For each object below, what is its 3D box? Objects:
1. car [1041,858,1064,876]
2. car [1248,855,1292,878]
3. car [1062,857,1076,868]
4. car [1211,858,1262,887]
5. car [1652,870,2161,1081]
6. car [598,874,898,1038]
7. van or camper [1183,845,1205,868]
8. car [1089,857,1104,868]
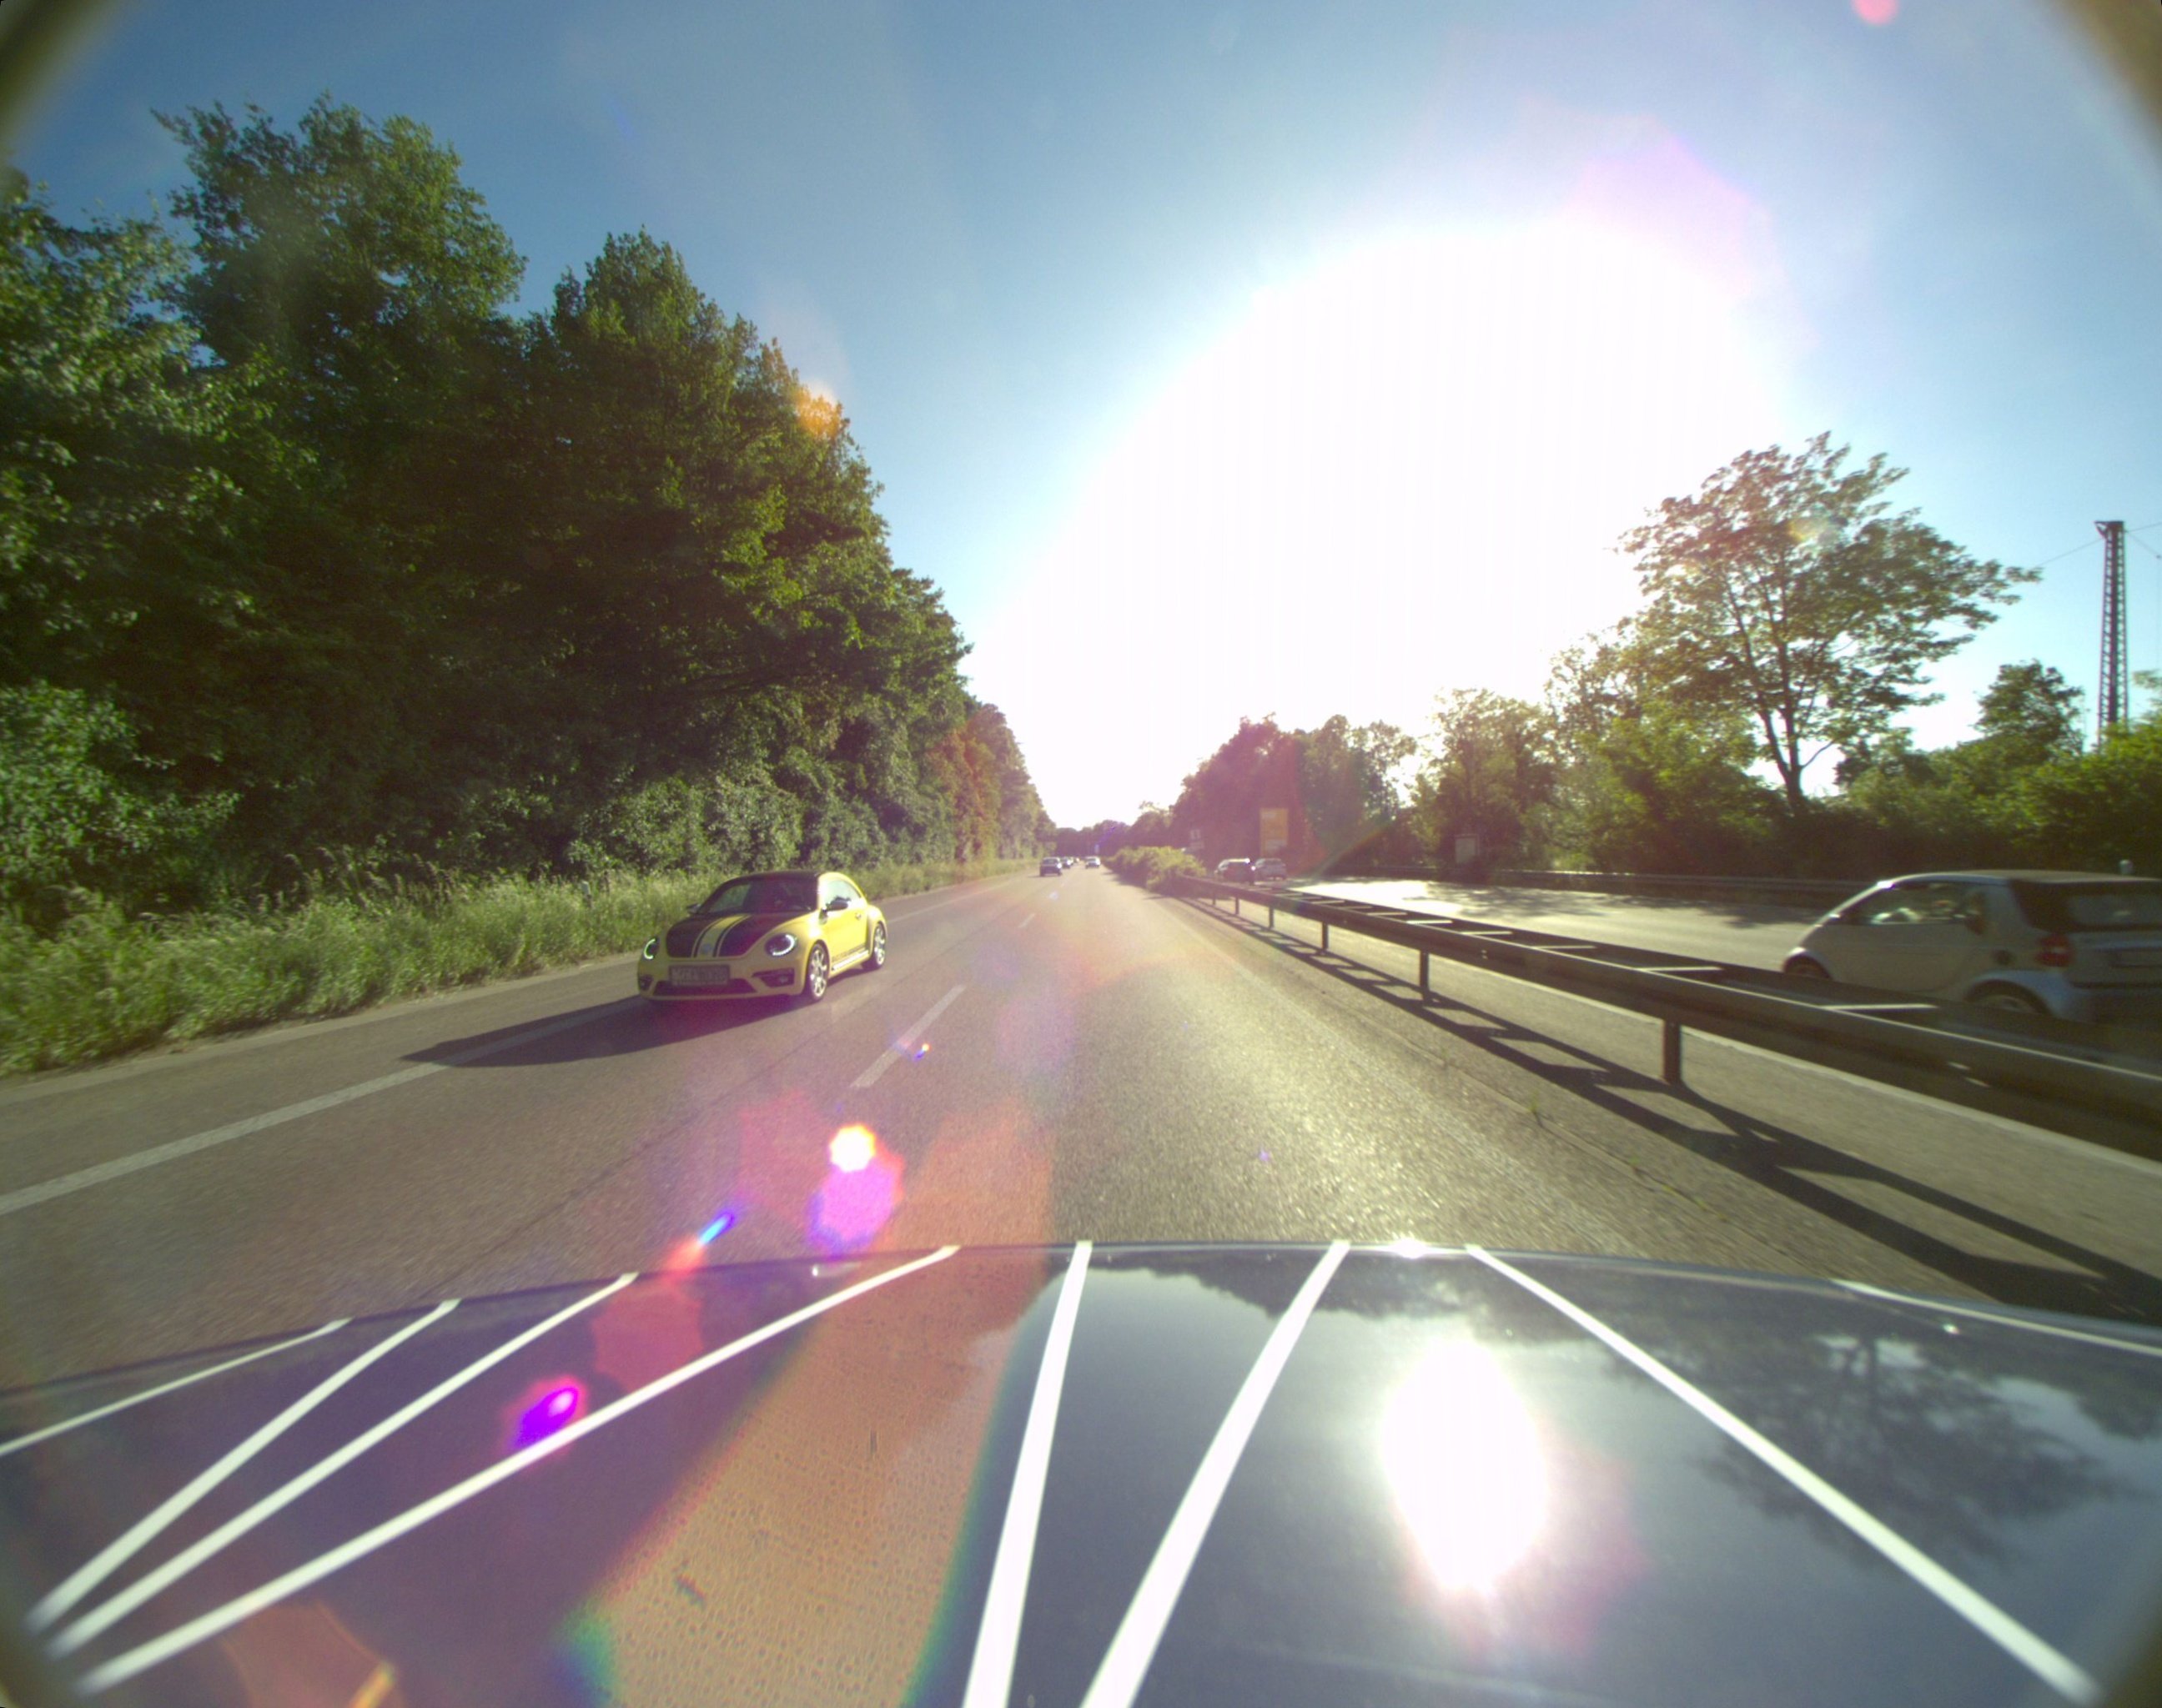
[{"bbox_3d":[-2.412,1.077,65.471,1.801,1.453,4.355,0,0,0],"label":"car"},{"bbox_3d":[12.887,0.848,52.075,1.965,1.441,4.326,-2,0,1],"label":"car"},{"bbox_3d":[-1.575,1.118,101.060,1.801,1.453,4.355,0,0,0],"label":"car"},{"bbox_3d":[8.816,1.017,43.450,1.965,1.531,4.464,-2,0,1],"label":"car"},{"bbox_3d":[8.727,0.993,8.146,1.881,1.531,4.464,0,0,1],"label":"car"},{"bbox_3d":[-3.793,1.056,9.644,1.884,1.453,4.355,-1,0,0],"label":"car"},{"bbox_3d":[13.584,0.301,91.789,1.998,2.706,5.254,-1,0,1],"label":"van or camper"},{"bbox_3d":[1.985,1.072,99.591,1.904,1.453,4.355,0,0,0],"label":"car"}]
